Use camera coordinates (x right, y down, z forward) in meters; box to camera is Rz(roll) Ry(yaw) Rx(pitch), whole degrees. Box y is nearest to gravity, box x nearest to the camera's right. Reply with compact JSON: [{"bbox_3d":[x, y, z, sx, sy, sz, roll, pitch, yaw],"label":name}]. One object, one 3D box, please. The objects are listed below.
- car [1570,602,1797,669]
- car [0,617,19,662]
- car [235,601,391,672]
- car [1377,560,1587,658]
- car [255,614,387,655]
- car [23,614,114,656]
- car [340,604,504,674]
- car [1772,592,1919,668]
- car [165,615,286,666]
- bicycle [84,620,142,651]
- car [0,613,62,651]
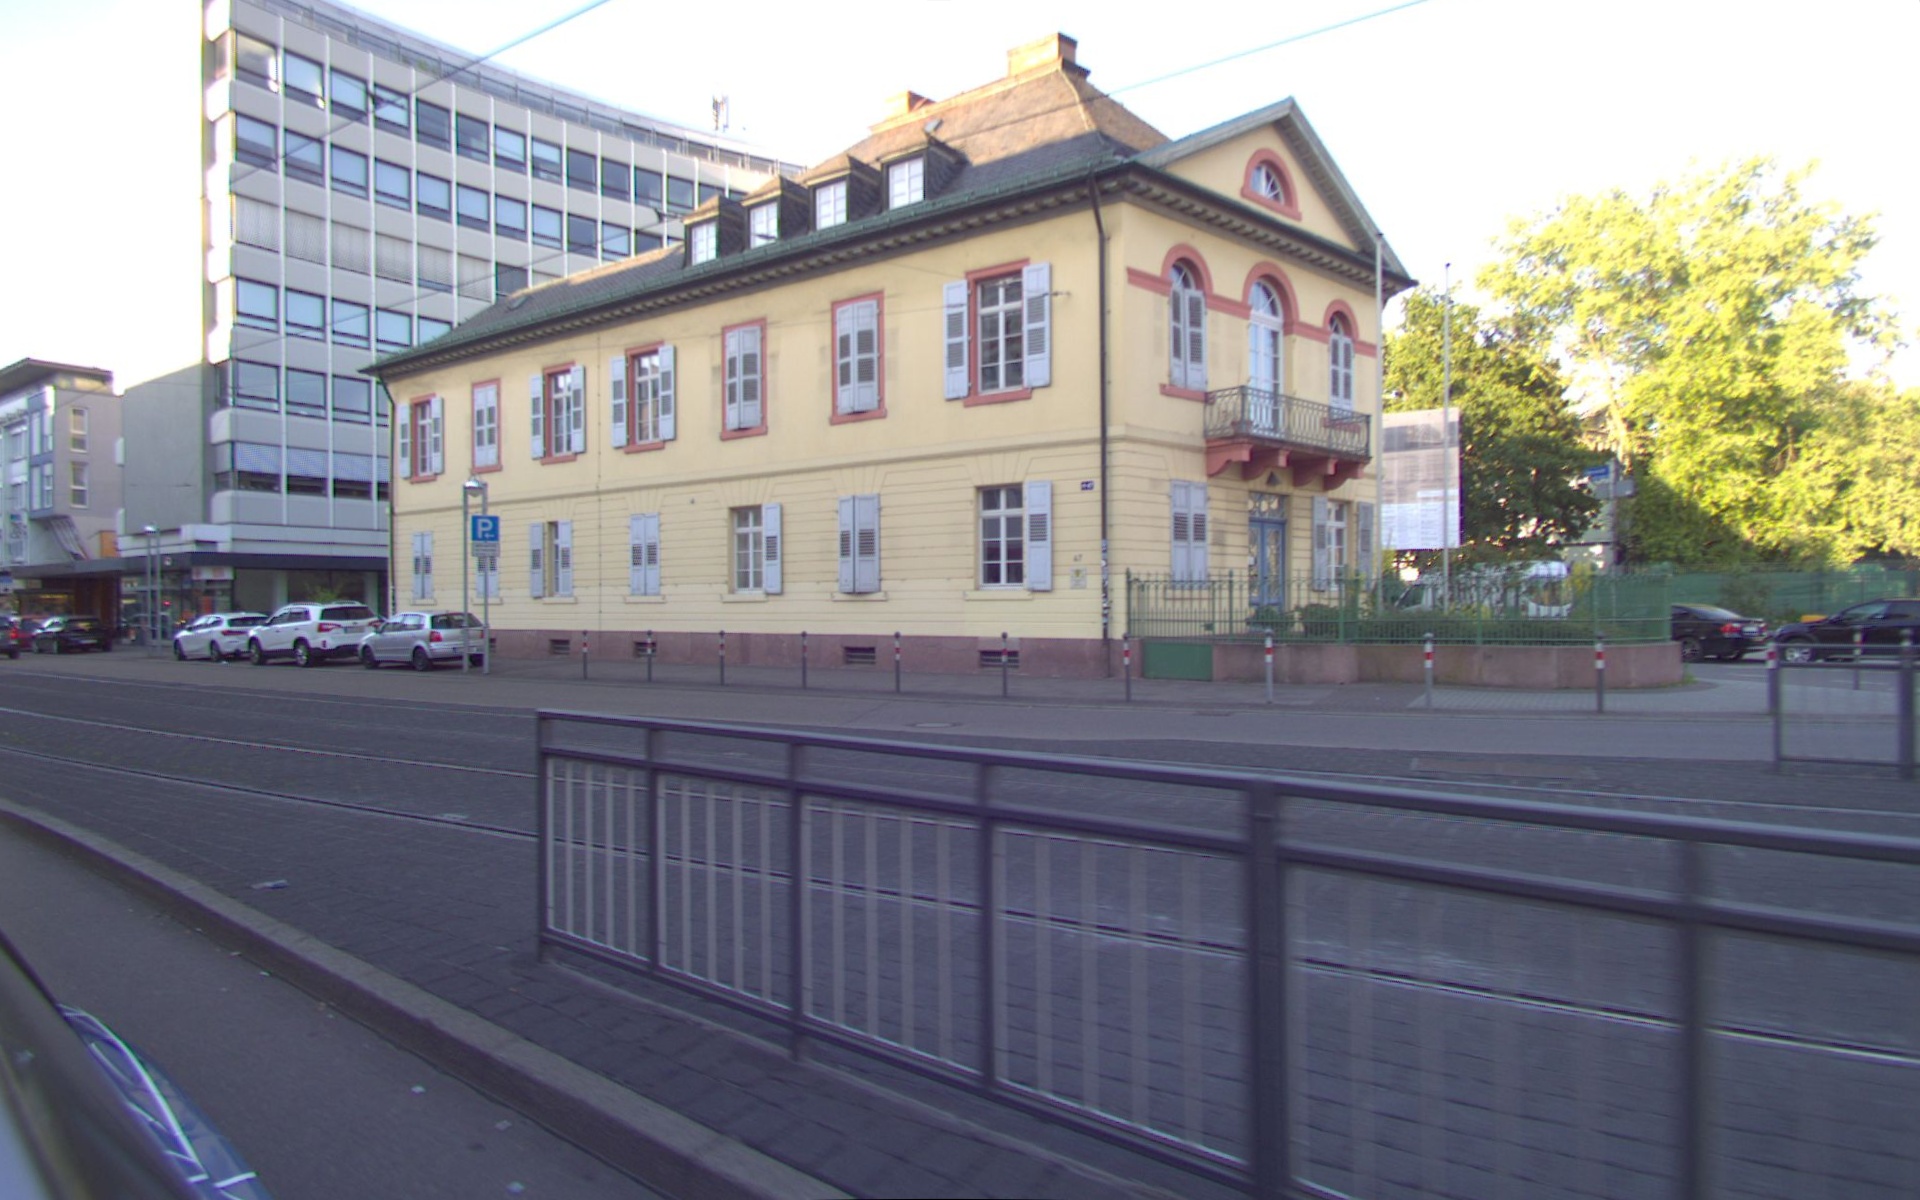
[{"bbox_3d":[17.715,0.823,25.004,1.965,1.497,4.107,0,-1,-24],"label":"car"},{"bbox_3d":[-34.230,1.349,34.786,4.020,1.523,1.722,-1,-1,31],"label":"car"},{"bbox_3d":[-18.063,0.981,28.209,4.480,1.799,1.800,-1,1,31],"label":"car"},{"bbox_3d":[15.375,0.272,30.229,2.062,2.650,5.443,0,-1,-23],"label":"car"},{"bbox_3d":[-24.687,1.290,39.238,1.842,1.478,3.952,-1,-1,35],"label":"car"},{"bbox_3d":[-34.714,1.326,39.384,4.204,1.523,1.672,-1,0,34],"label":"car"},{"bbox_3d":[-13.672,0.953,25.650,4.200,1.629,1.799,-1,-1,31],"label":"car"},{"bbox_3d":[19.577,0.612,20.815,1.965,1.497,4.013,1,-1,-24],"label":"car"},{"bbox_3d":[-23.145,1.241,31.851,4.422,1.523,1.796,-1,-1,36],"label":"car"},{"bbox_3d":[-39.994,1.651,47.811,0.831,1.436,1.953,-1,-1,32],"label":"bicycle"},{"bbox_3d":[-39.167,1.342,42.131,4.204,1.523,1.671,-1,-3,34],"label":"car"}]
